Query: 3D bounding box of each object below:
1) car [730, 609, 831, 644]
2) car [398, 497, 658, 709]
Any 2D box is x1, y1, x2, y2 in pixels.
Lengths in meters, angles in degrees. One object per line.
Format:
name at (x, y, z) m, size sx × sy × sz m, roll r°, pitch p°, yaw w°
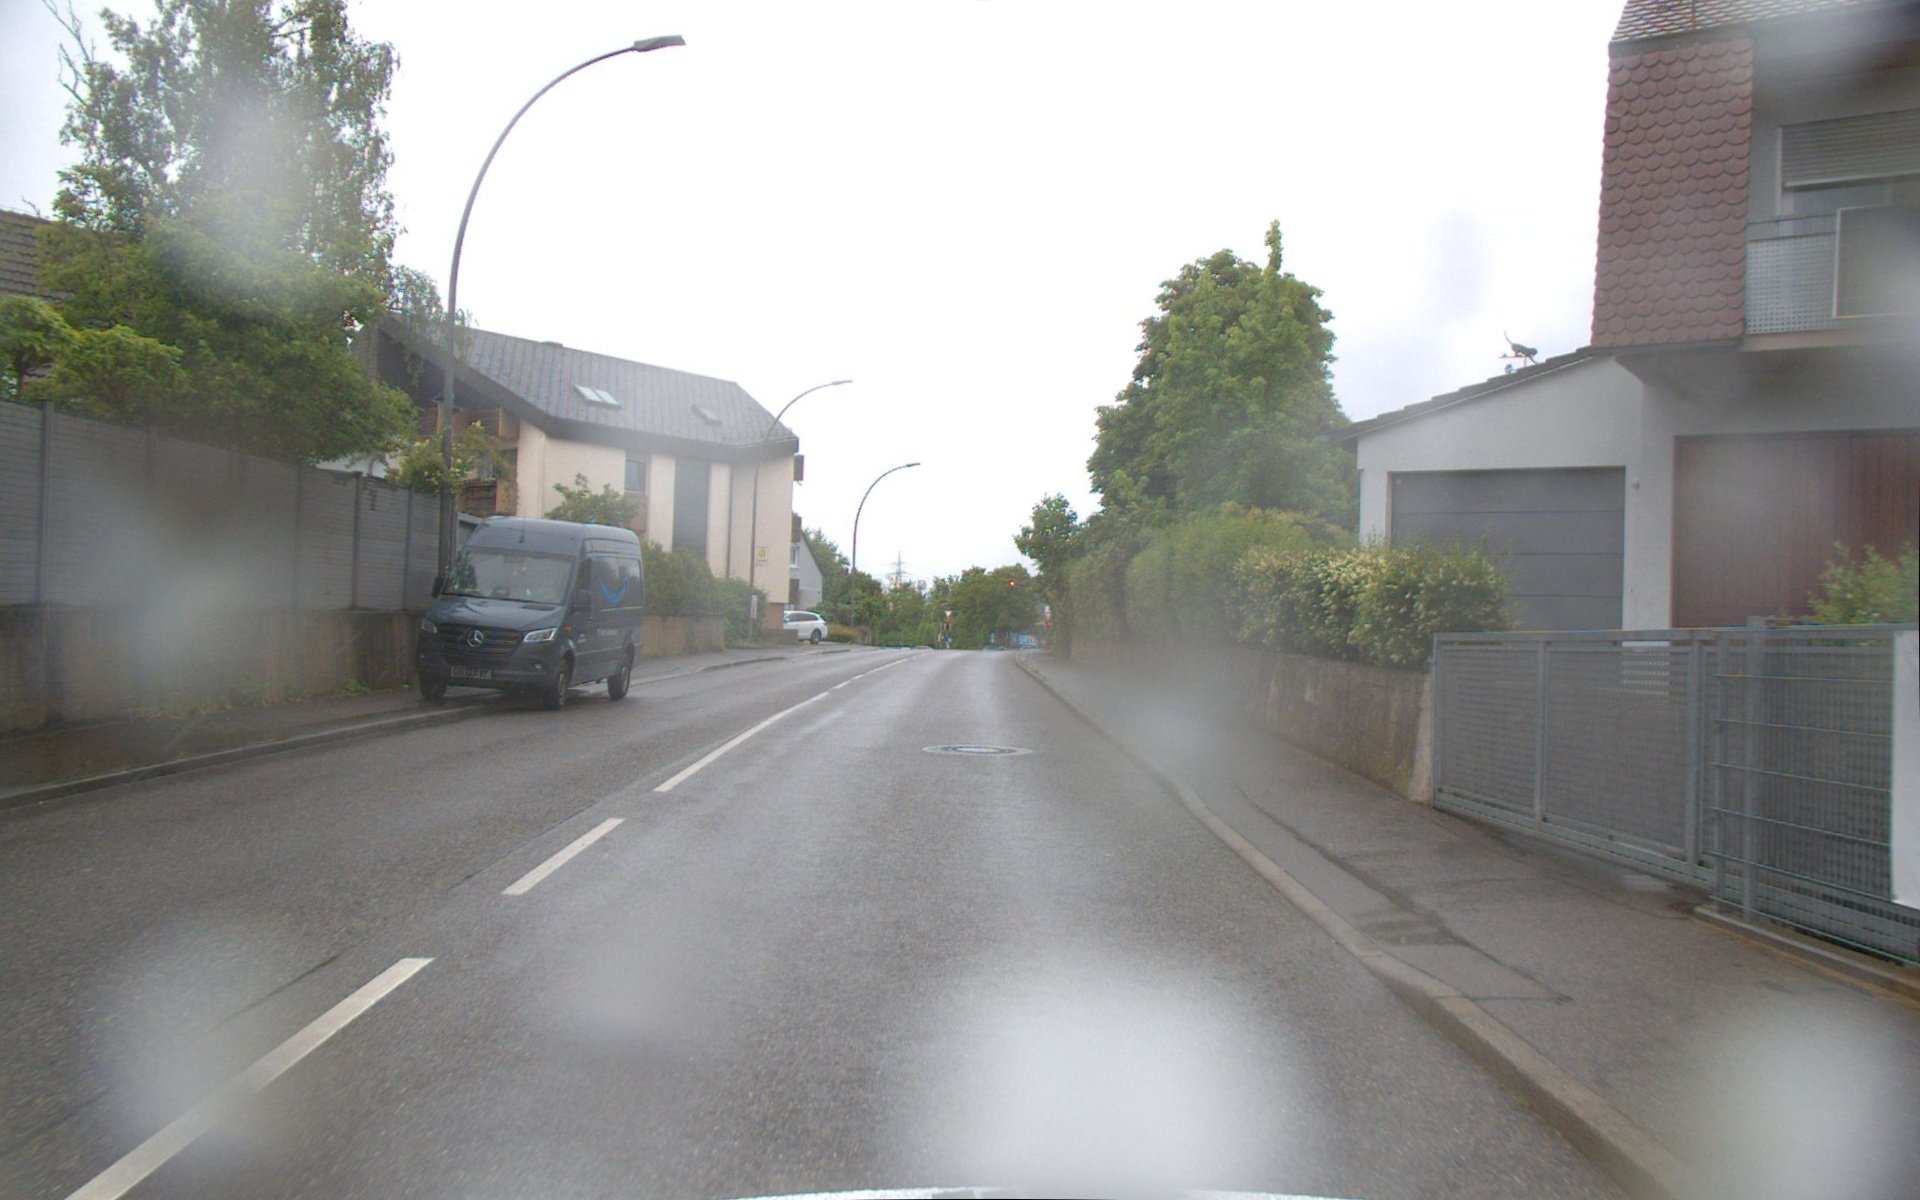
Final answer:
car at (-8.298, 1.253, 76.880) m, size 1.869 × 1.503 × 4.864 m, roll 2°, pitch 0°, yaw 35°
car at (-6.226, 0.059, 24.700) m, size 2.051 × 2.695 × 5.919 m, roll 3°, pitch 0°, yaw 2°
